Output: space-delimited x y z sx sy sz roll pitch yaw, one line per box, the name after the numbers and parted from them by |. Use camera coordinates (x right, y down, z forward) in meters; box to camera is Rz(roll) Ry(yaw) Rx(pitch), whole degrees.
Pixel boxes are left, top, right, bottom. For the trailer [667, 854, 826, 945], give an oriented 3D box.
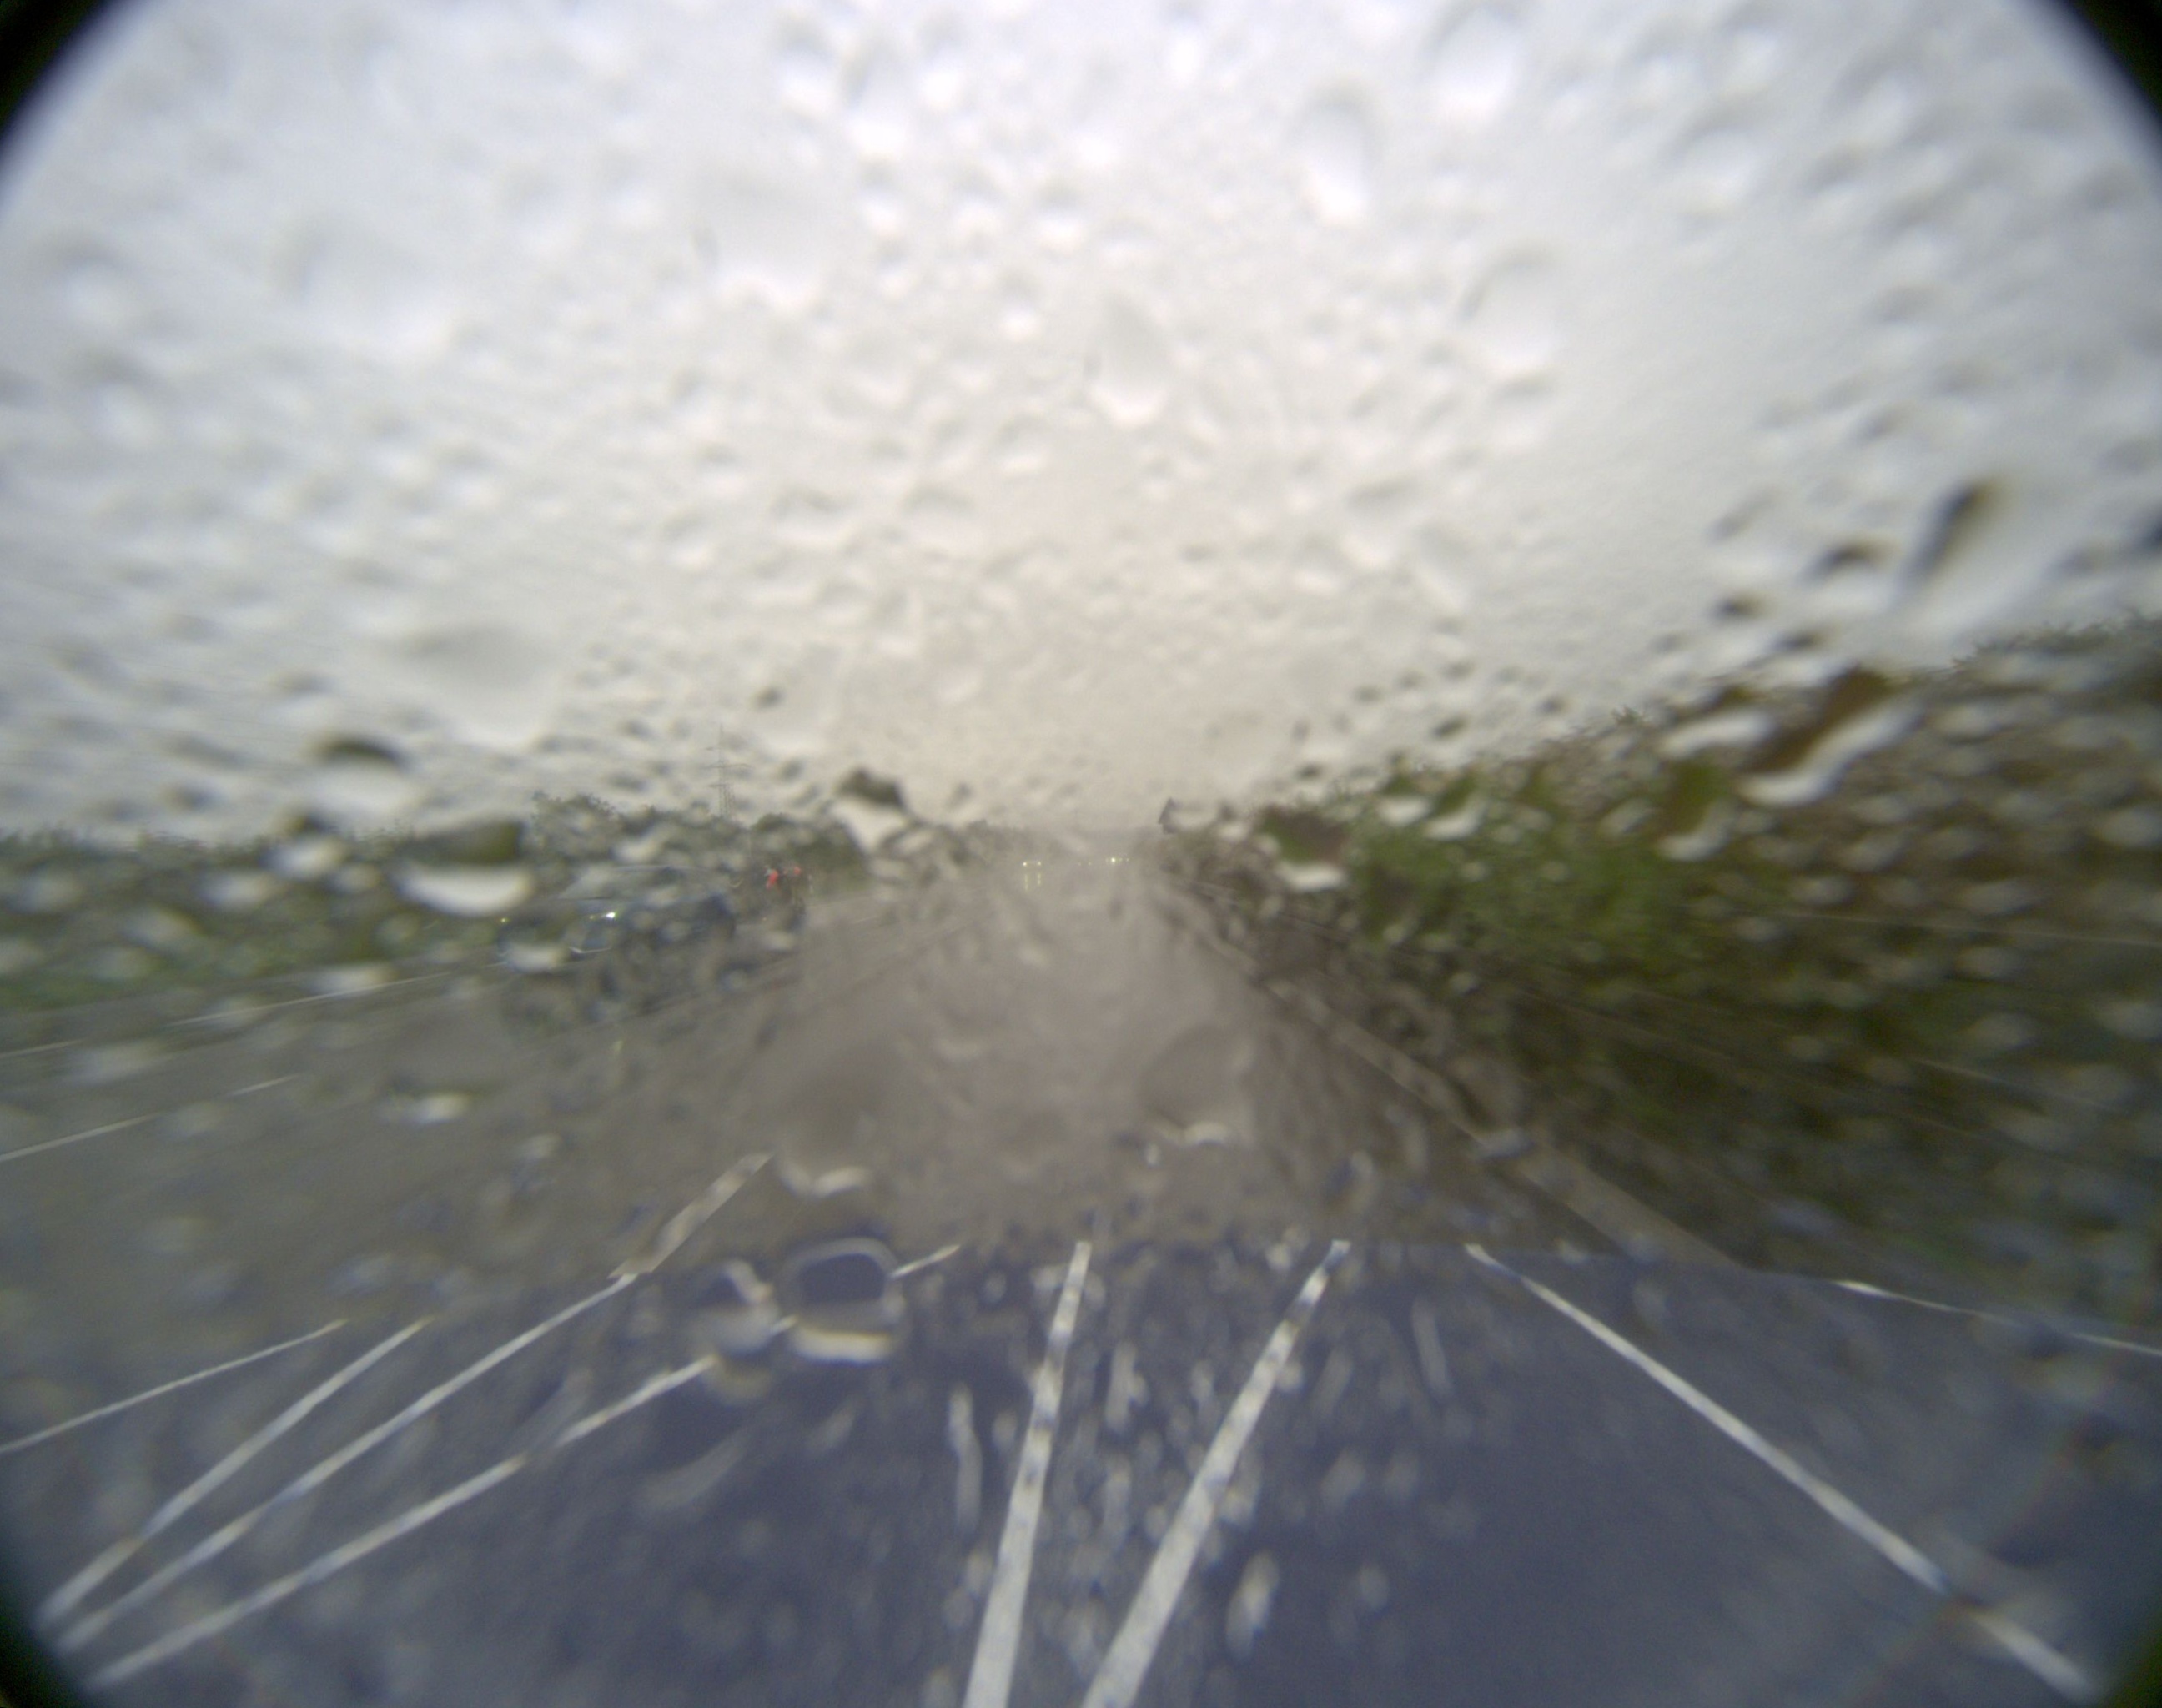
-7.400 0.936 17.183 1.983 1.774 3.189 -2 1 3 | trailer

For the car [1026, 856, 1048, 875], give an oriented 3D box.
-4.997 1.273 87.318 1.998 2.001 4.001 -3 -1 3 | car

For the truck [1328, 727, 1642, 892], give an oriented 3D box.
15.681 -1.369 33.036 4.716 5.014 18.233 -2 0 3 | truck

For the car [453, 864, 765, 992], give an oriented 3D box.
-7.600 1.068 13.048 1.998 1.610 4.993 -2 1 3 | car

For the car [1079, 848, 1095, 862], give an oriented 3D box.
0.877 0.145 113.883 1.998 2.002 4.002 -2 0 5 | car

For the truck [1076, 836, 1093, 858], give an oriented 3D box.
0.916 -1.578 171.586 3.135 4.641 11.406 -2 0 3 | truck
